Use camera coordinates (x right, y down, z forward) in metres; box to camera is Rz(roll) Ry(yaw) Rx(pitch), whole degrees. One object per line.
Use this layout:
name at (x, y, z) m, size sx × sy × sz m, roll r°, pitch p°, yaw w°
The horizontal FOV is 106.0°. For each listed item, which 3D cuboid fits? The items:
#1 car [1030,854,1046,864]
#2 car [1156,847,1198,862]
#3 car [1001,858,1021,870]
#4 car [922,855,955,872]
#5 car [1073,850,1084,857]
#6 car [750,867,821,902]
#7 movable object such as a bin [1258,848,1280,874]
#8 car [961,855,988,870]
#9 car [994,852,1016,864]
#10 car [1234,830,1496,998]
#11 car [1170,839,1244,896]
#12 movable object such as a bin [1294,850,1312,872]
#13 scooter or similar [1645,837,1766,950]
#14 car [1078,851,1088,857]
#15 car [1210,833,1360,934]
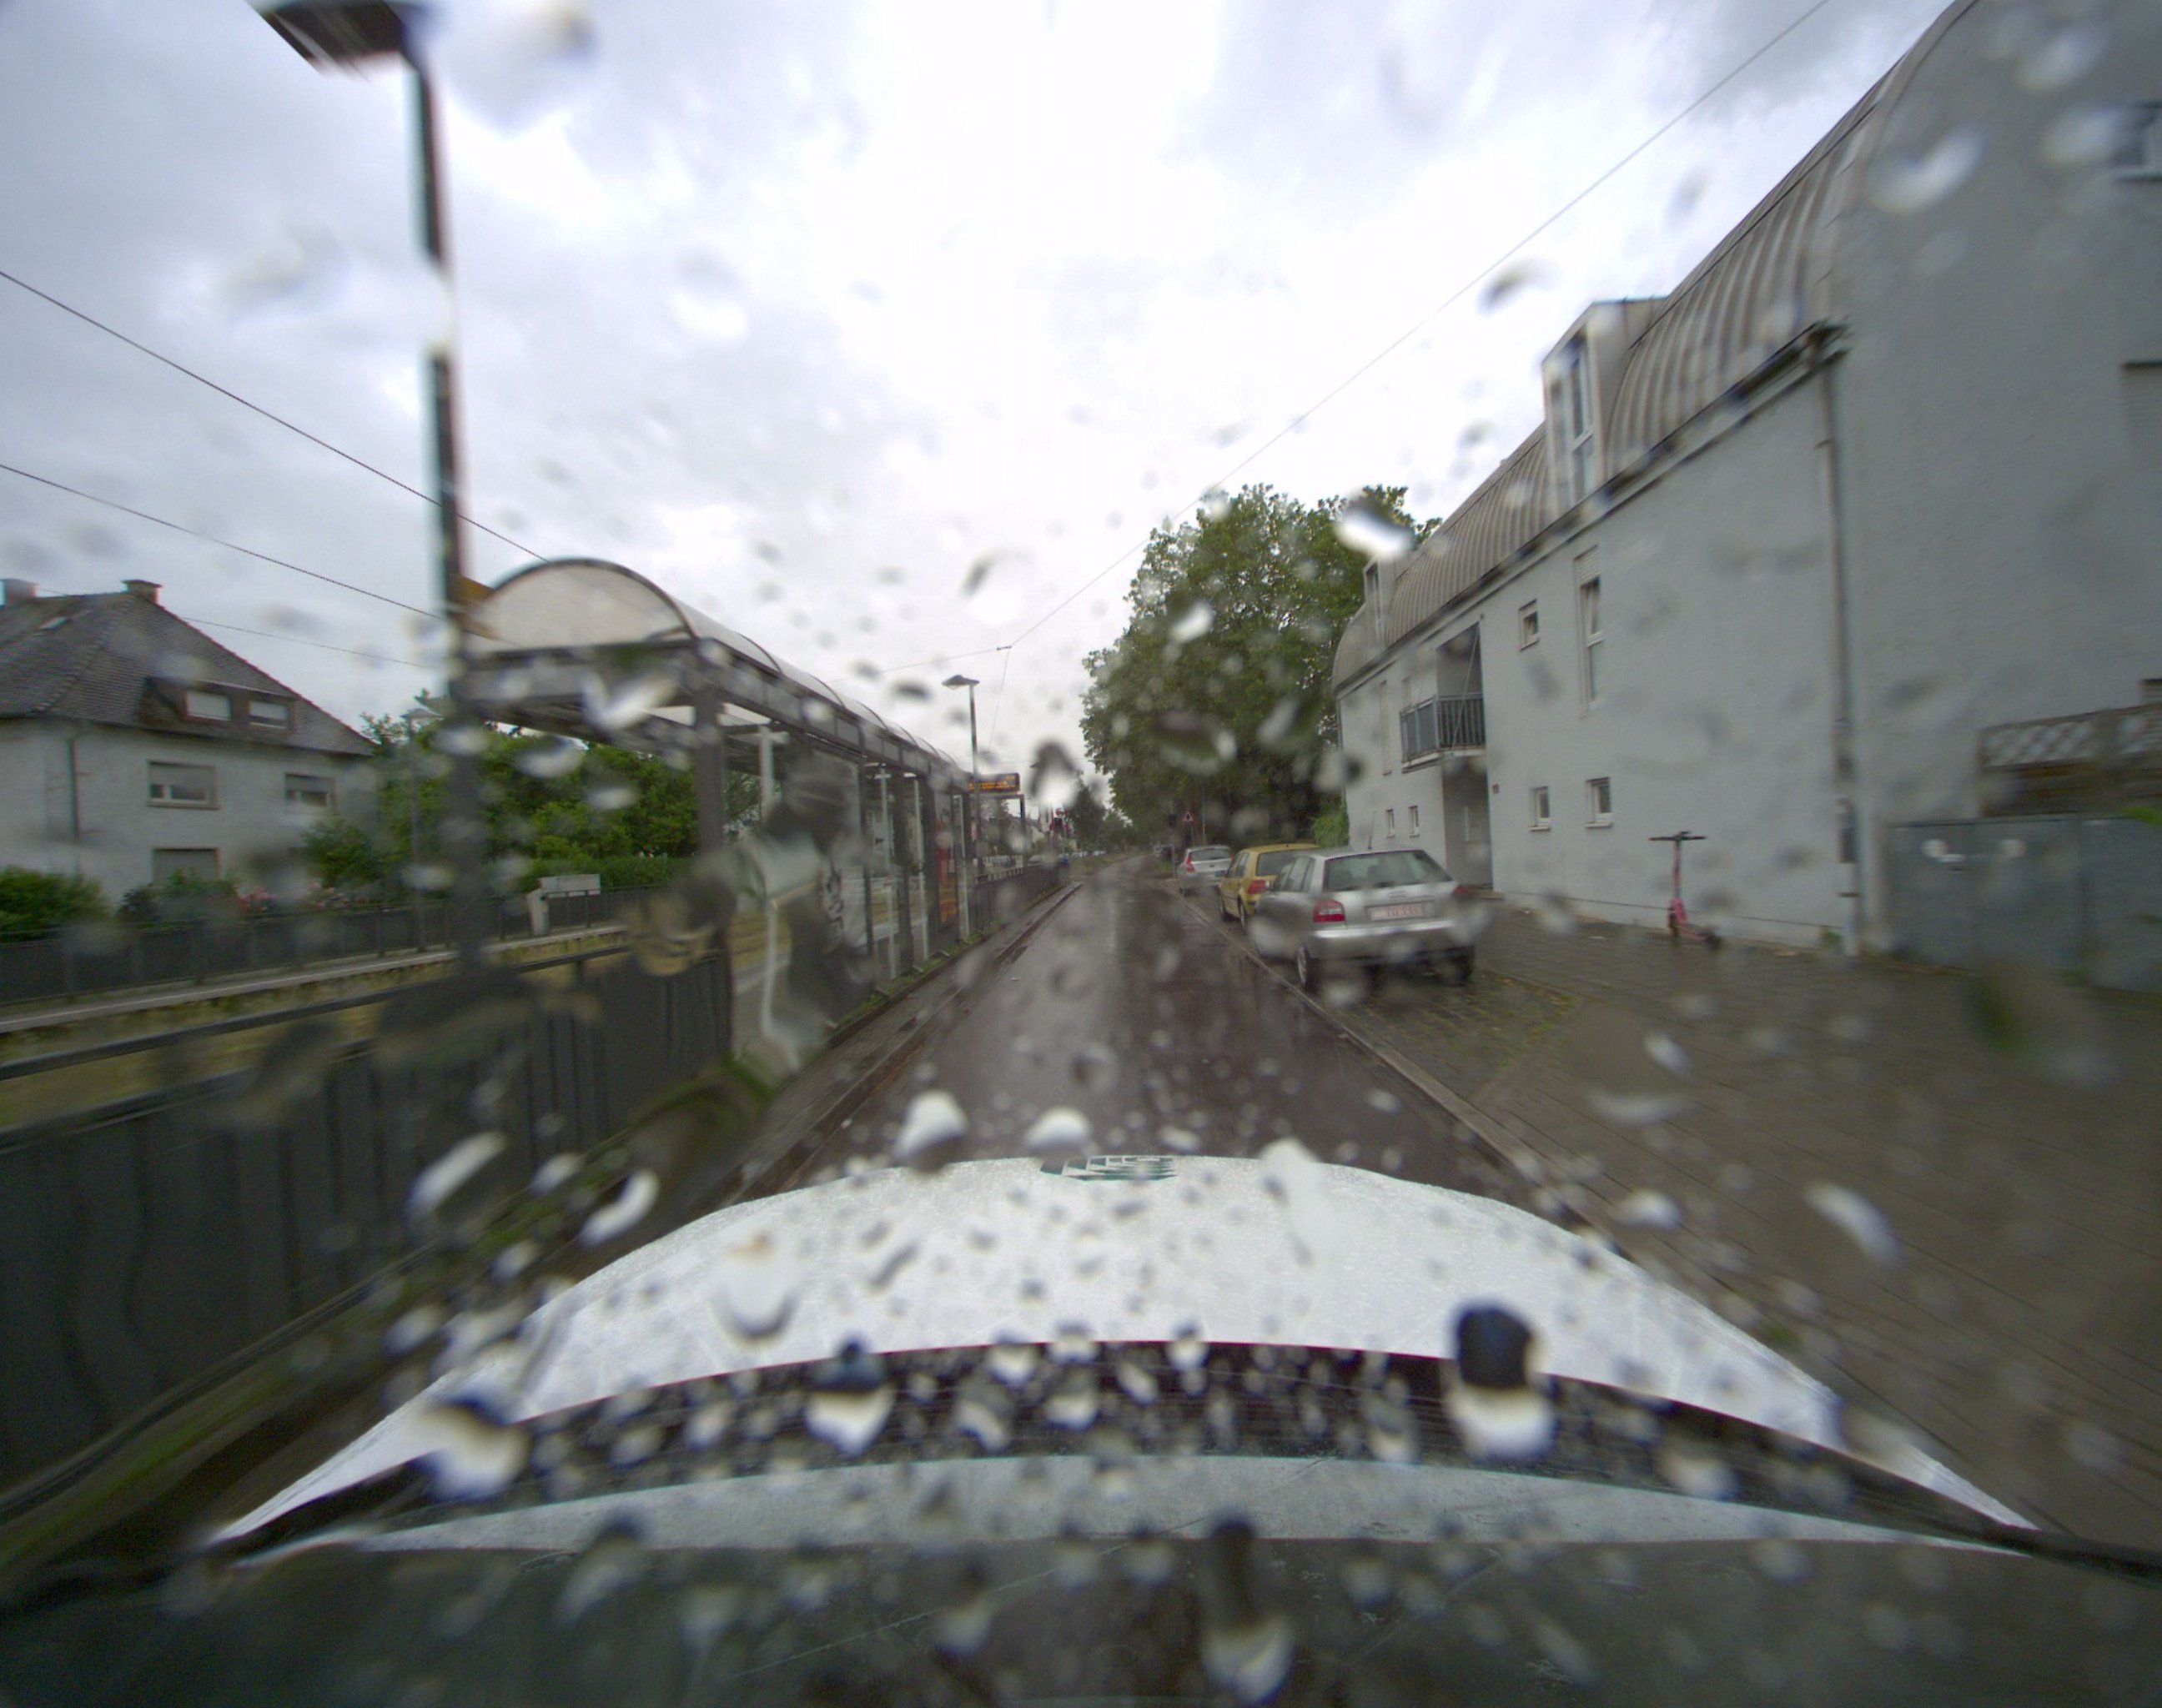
car at (-6.790, 0.828, 128.967) m, size 1.919 × 1.486 × 4.006 m, roll -2°, pitch -1°, yaw 6°
car at (10.012, 0.053, 85.182) m, size 3.990 × 1.453 × 1.992 m, roll -2°, pitch -1°, yaw -12°
car at (-9.405, 1.294, 109.428) m, size 1.919 × 1.486 × 4.006 m, roll -2°, pitch -1°, yaw 6°
car at (-13.081, 0.870, 74.839) m, size 1.919 × 1.486 × 4.006 m, roll -2°, pitch -1°, yaw 6°
car at (-0.571, -0.014, 185.611) m, size 1.919 × 1.486 × 4.006 m, roll -2°, pitch -1°, yaw 6°
car at (-13.805, 1.381, 38.298) m, size 1.626 × 1.493 × 4.003 m, roll -2°, pitch -1°, yaw 3°
movable object such as a bin at (8.089, 0.296, 35.127) m, size 0.690 × 1.022 × 0.824 m, roll -5°, pitch -1°, yaw 2°
car at (-11.178, 0.890, 85.793) m, size 1.919 × 1.486 × 4.006 m, roll -2°, pitch -1°, yaw 6°
car at (-9.515, 0.498, 102.586) m, size 1.919 × 1.486 × 4.006 m, roll -2°, pitch -1°, yaw 6°
car at (3.078, 0.581, 9.919) m, size 1.643 × 1.405 × 4.652 m, roll -6°, pitch -1°, yaw 3°
car at (3.874, 0.408, 25.590) m, size 1.799 × 1.467 × 3.796 m, roll -6°, pitch -1°, yaw 3°
movable object such as a bin at (9.319, 0.288, 34.197) m, size 0.534 × 0.899 × 0.739 m, roll -5°, pitch -1°, yaw 2°
scooter or similar at (6.576, 0.389, 8.643) m, size 0.331 × 1.085 × 1.399 m, roll -2°, pitch -1°, yaw 8°
car at (0.577, -0.046, 197.404) m, size 1.919 × 1.486 × 4.006 m, roll -2°, pitch -1°, yaw 6°
car at (3.500, 0.482, 14.682) m, size 1.799 × 1.405 × 3.796 m, roll -6°, pitch -1°, yaw 3°
